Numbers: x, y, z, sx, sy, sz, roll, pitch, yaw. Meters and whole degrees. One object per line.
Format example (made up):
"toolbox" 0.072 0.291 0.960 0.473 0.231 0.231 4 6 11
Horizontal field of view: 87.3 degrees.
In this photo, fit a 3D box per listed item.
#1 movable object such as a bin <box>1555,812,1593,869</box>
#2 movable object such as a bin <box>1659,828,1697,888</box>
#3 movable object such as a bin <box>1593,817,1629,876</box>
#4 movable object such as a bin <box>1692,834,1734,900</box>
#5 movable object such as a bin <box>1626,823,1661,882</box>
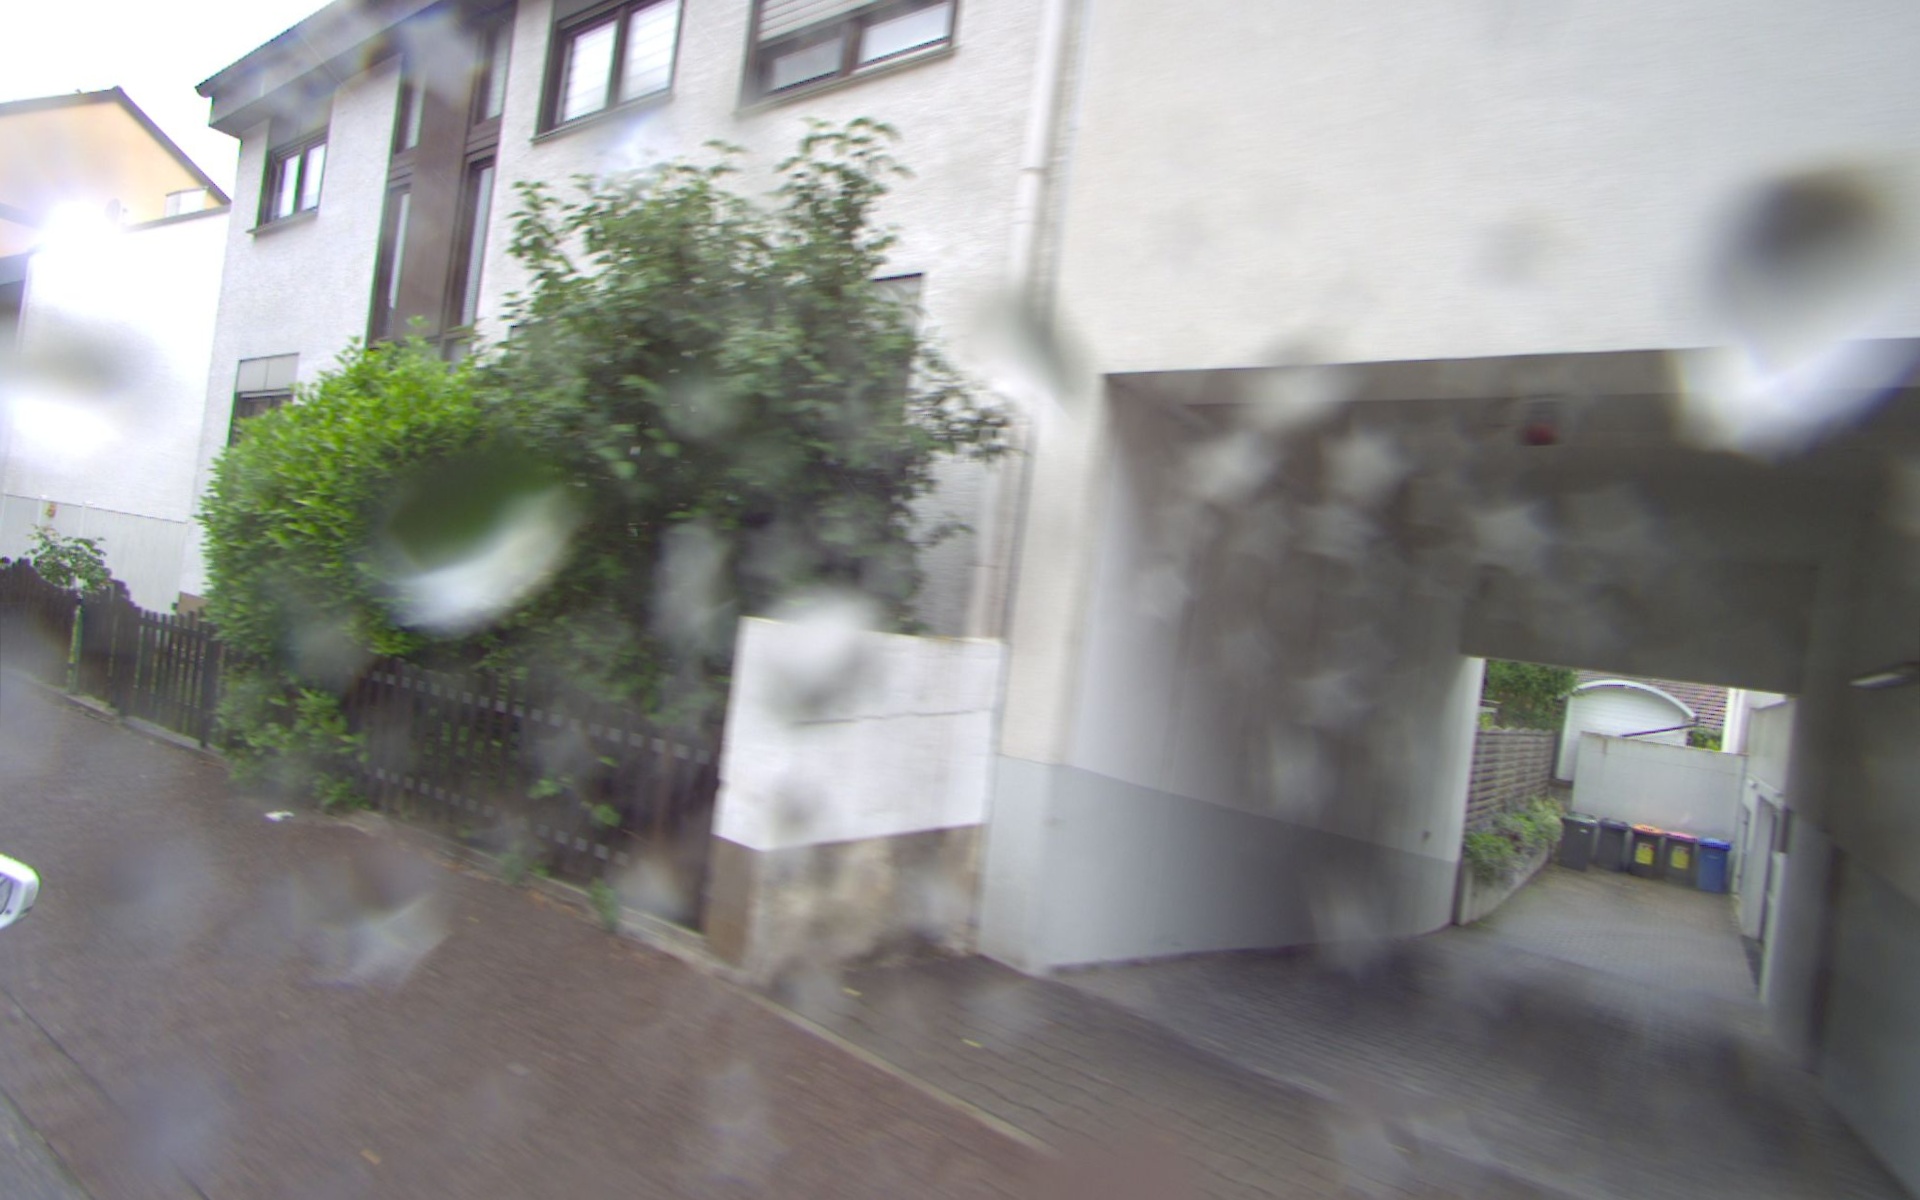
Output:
"movable object such as a bin" 13.493 5.264 22.100 0.588 1.110 0.487 6 -5 36
"movable object such as a bin" 15.060 5.399 21.107 0.524 1.128 0.487 6 -5 36
"movable object such as a bin" 14.072 5.318 21.749 0.524 1.128 0.487 6 -5 36
"movable object such as a bin" 15.511 5.490 20.732 0.576 1.195 0.487 6 -5 36
"movable object such as a bin" 14.562 5.371 21.434 0.524 1.128 0.487 6 -5 36
